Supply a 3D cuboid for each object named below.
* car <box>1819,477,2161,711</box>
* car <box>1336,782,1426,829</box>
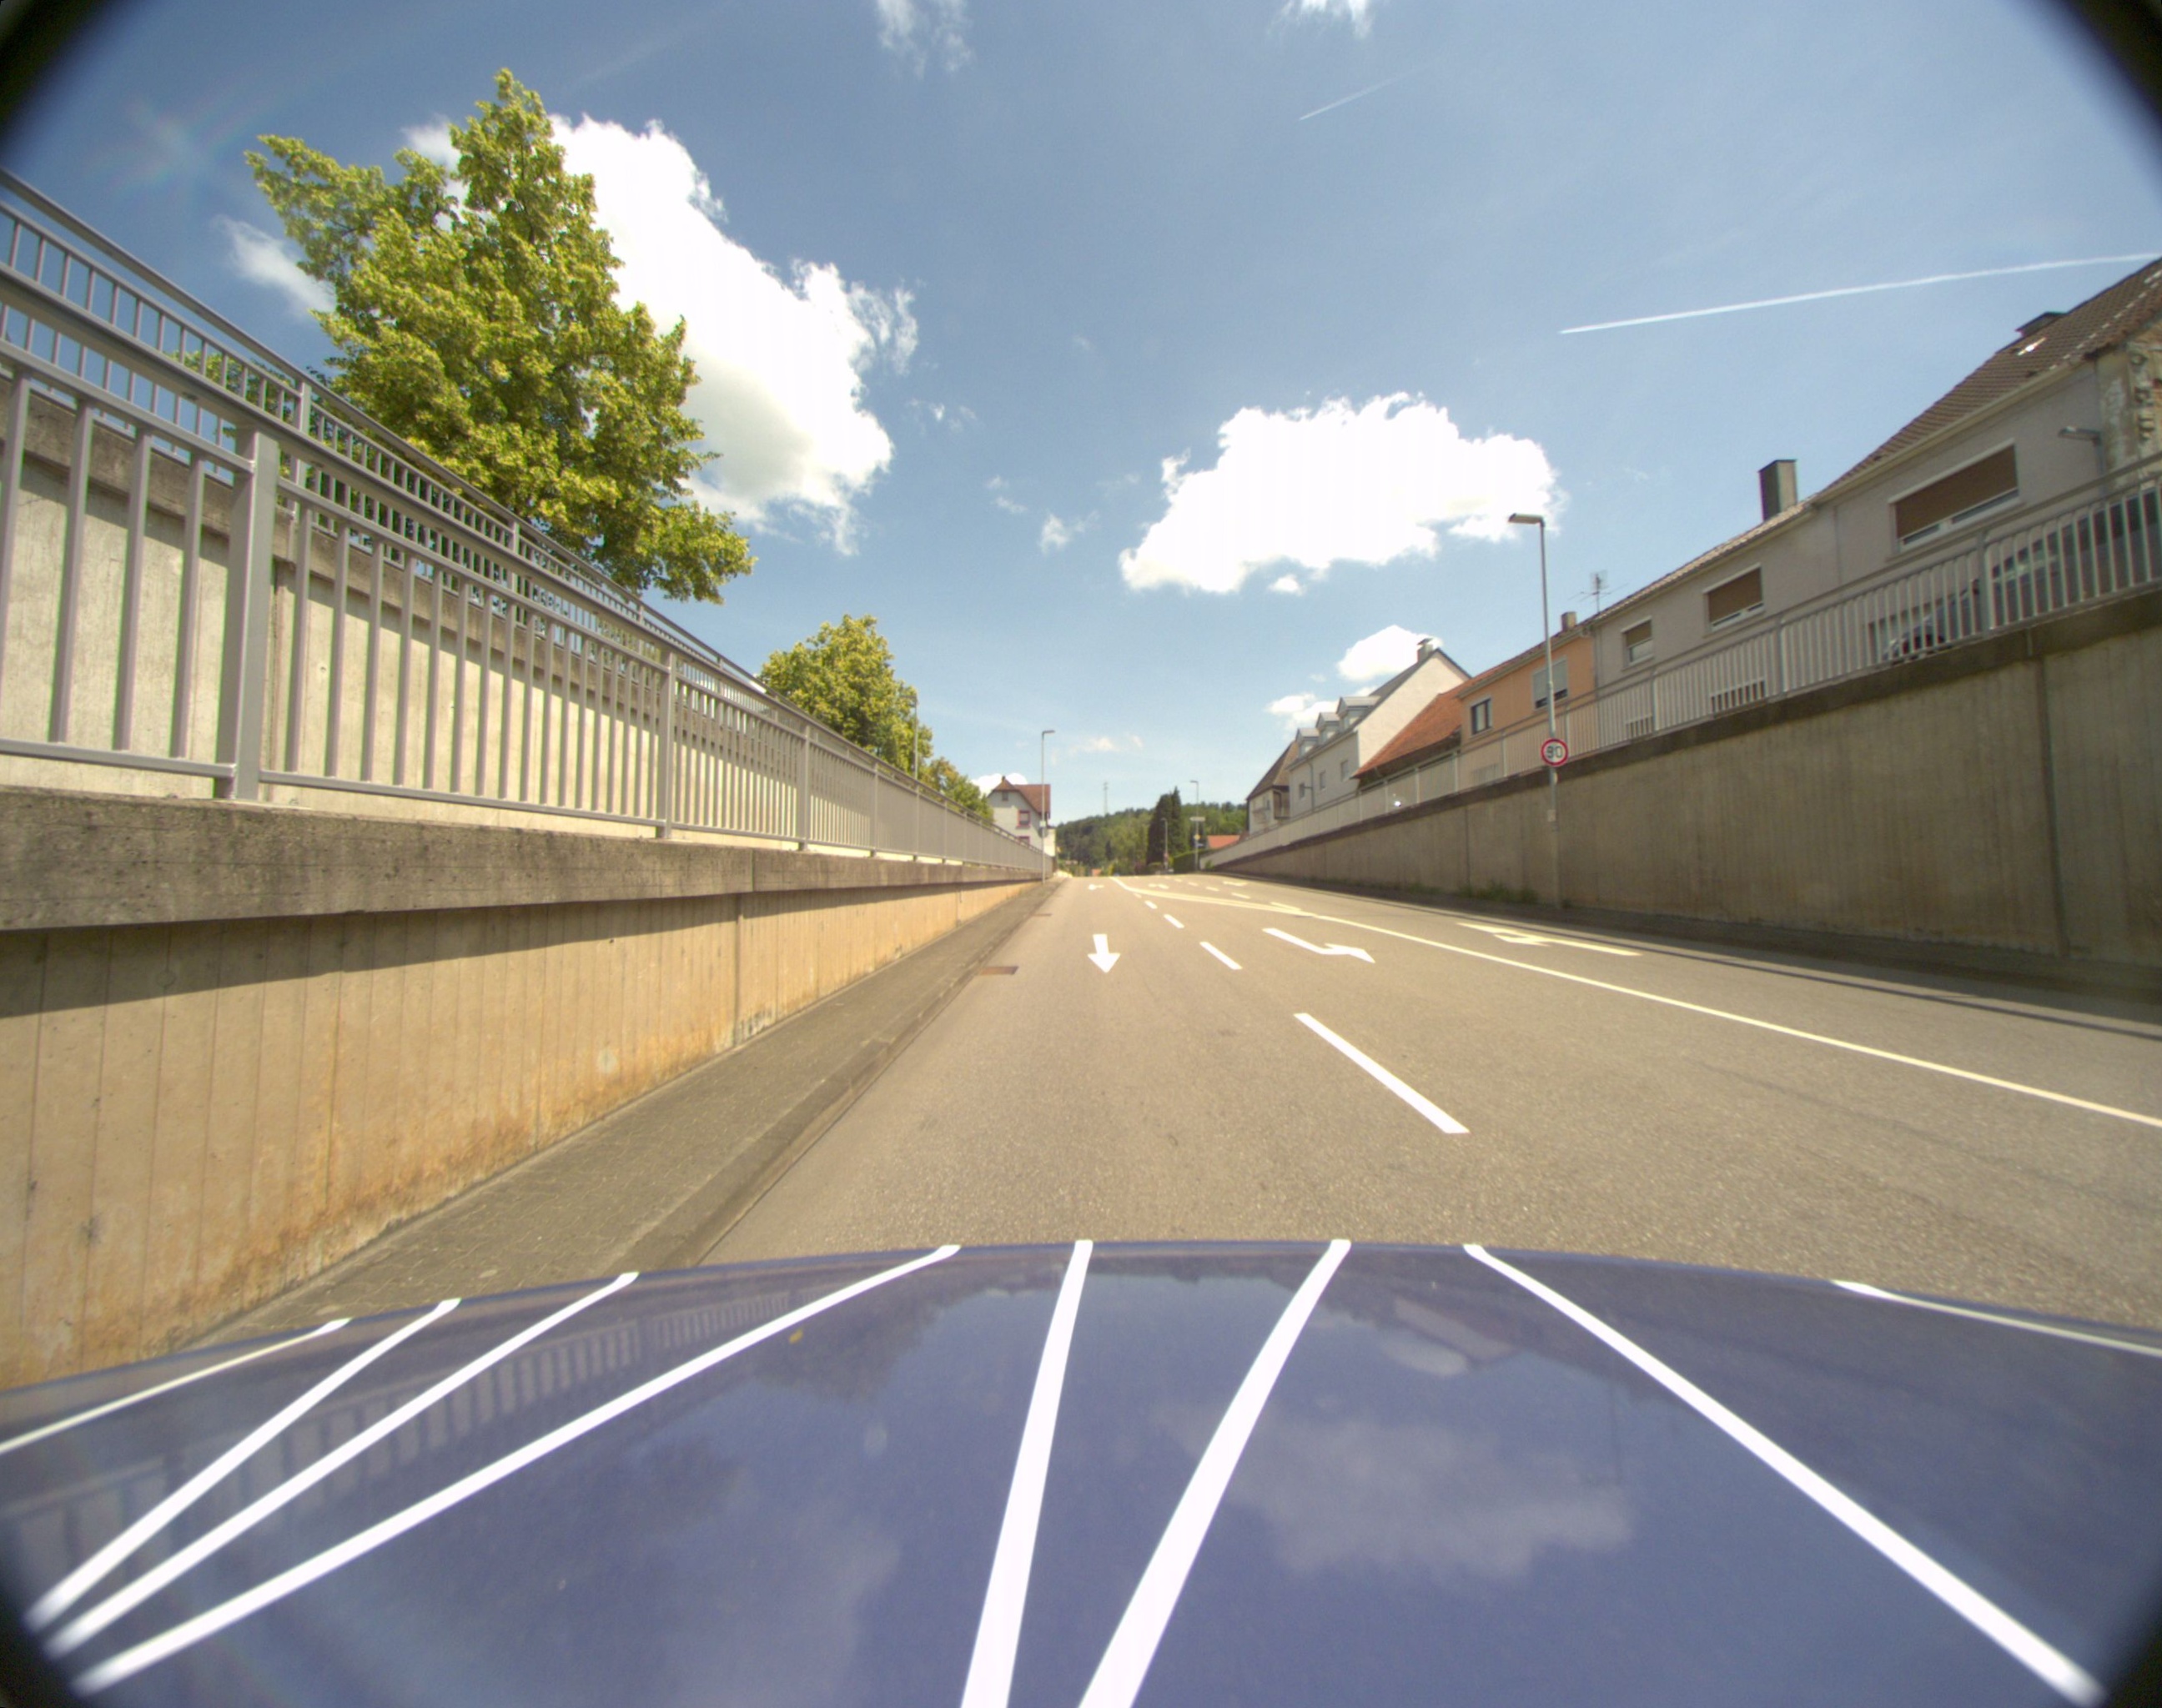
[{"bbox_3d":[11.420,-2.889,8.564,1.803,1.515,4.394,-1,-2,-1],"label":"car"},{"bbox_3d":[12.065,-1.912,30.867,1.790,1.396,4.394,-1,-2,-1],"label":"car"}]
